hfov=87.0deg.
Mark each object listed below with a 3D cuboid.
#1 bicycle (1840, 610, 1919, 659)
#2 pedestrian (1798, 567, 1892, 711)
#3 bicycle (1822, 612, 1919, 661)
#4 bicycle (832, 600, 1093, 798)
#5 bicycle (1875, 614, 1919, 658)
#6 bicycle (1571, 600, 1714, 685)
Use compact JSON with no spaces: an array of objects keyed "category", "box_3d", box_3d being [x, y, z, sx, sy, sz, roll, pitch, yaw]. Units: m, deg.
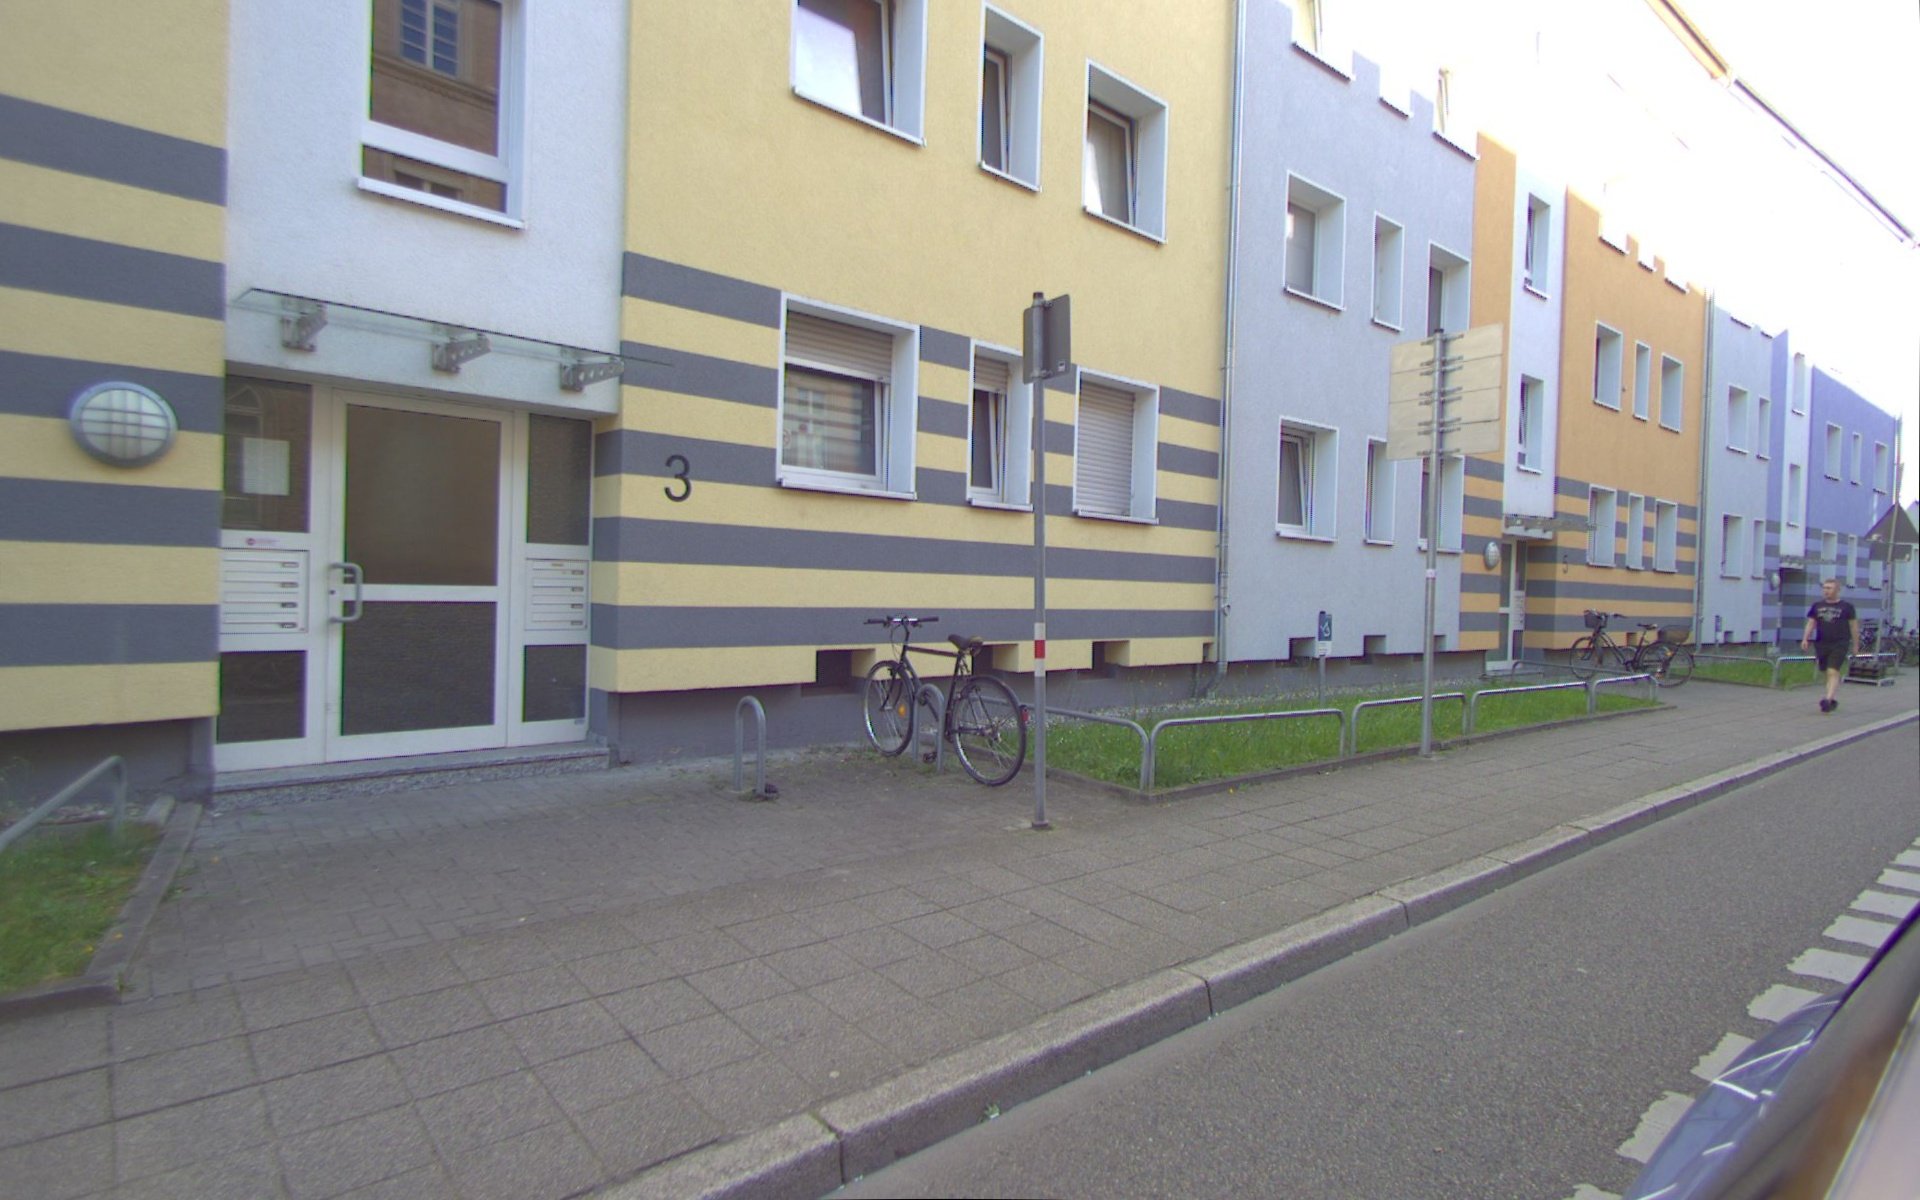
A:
[{"category":"bicycle","box_3d":[23.137,0.853,25.220,0.625,1.095,1.710,1,2,-40]},{"category":"pedestrian","box_3d":[11.774,0.495,13.464,0.898,1.810,0.646,1,4,-38]},{"category":"bicycle","box_3d":[22.169,0.869,24.624,0.624,1.058,1.711,1,2,-39]},{"category":"bicycle","box_3d":[-0.049,0.595,6.981,0.625,1.074,1.946,1,2,-42]},{"category":"bicycle","box_3d":[24.036,0.918,25.257,0.625,1.048,1.709,1,2,-42]},{"category":"bicycle","box_3d":[10.638,0.633,15.810,0.625,1.173,1.709,1,2,-42]}]
